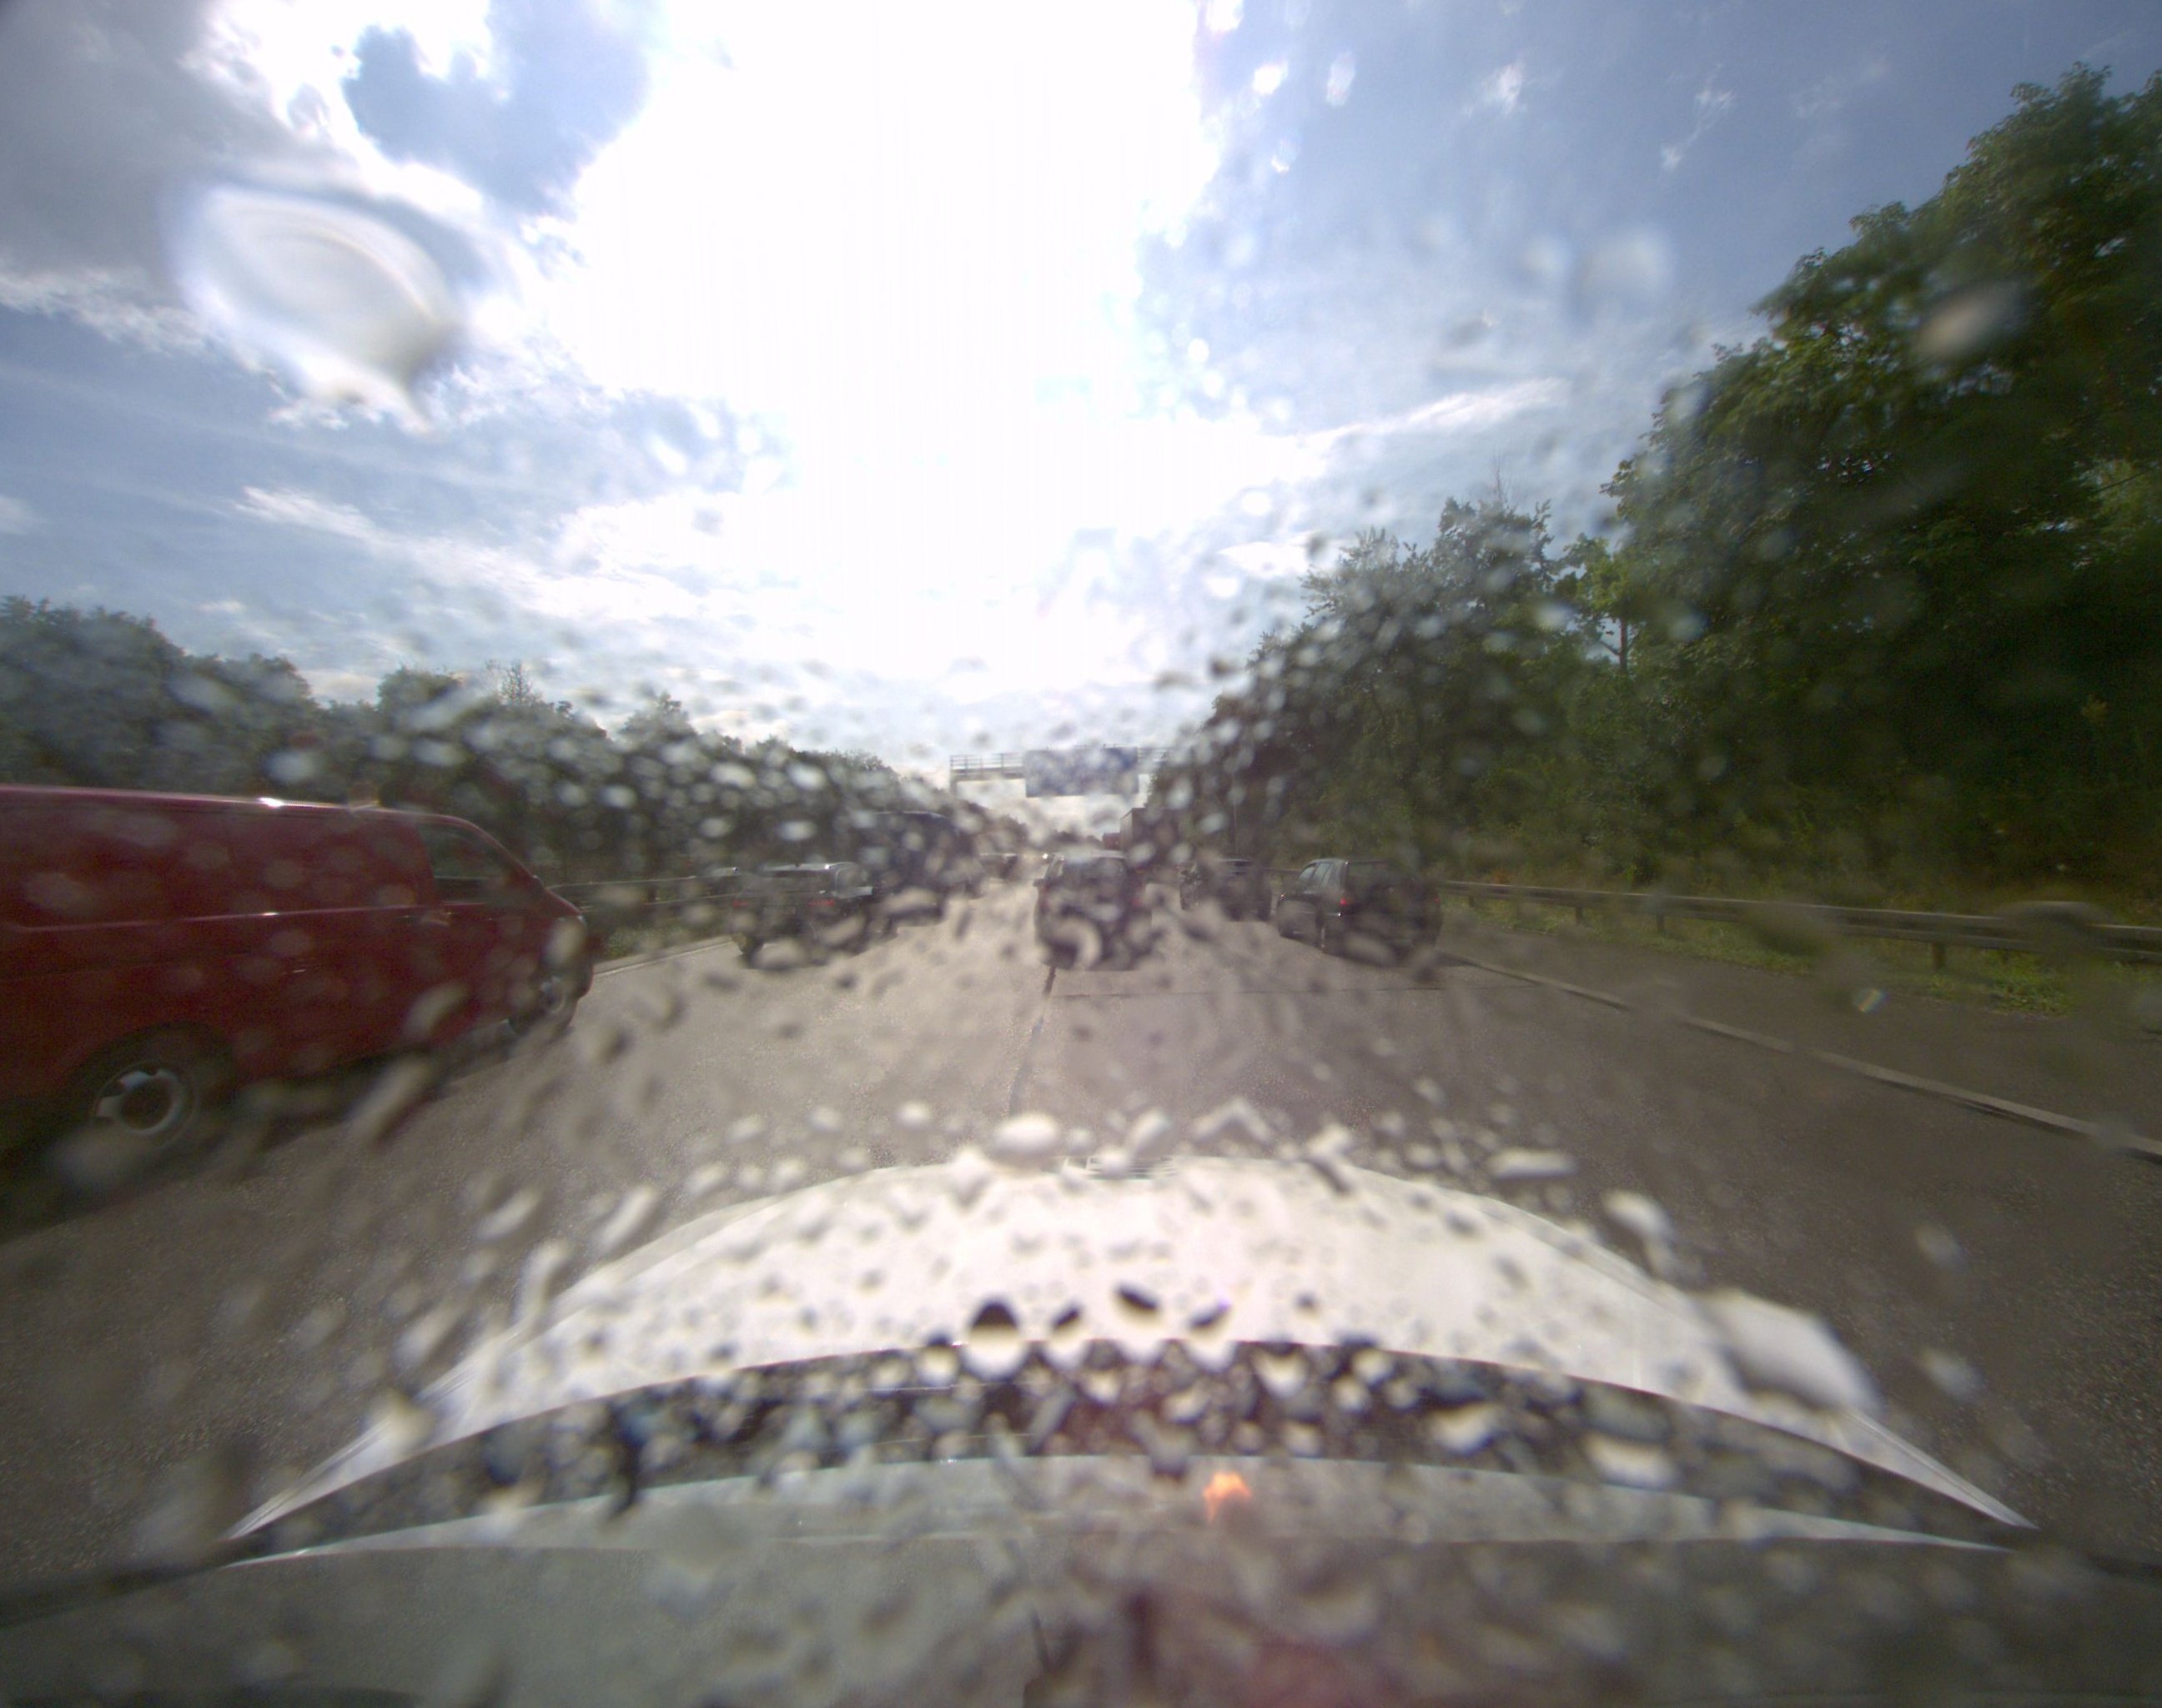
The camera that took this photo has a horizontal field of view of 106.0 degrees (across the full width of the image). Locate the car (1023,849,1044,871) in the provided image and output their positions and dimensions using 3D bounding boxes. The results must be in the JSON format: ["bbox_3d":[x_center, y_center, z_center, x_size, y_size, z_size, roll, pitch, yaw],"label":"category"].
[{"bbox_3d":[-5.281,0.640,90.422,1.987,2.385,5.259,-1,0,0],"label":"car"}]

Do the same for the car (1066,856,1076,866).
[{"bbox_3d":[-2.245,1.554,180.644,1.987,2.115,4.888,-1,0,0],"label":"car"}]

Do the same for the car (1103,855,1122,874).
[{"bbox_3d":[3.541,1.186,92.836,1.987,2.115,4.888,-1,0,0],"label":"car"}]

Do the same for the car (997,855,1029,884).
[{"bbox_3d":[-5.188,1.135,62.434,1.987,2.115,4.888,-1,0,0],"label":"car"}]

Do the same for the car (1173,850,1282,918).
[{"bbox_3d":[3.536,0.696,20.360,1.860,1.516,3.972,0,0,-2],"label":"car"}]

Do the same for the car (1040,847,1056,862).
[{"bbox_3d":[-4.463,0.084,111.407,1.987,2.115,4.888,-1,0,0],"label":"car"}]

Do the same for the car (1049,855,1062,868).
[{"bbox_3d":[-4.225,1.285,136.055,1.987,2.115,4.888,-1,0,0],"label":"car"}]

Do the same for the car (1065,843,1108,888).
[{"bbox_3d":[0.205,0.487,35.357,1.688,1.805,3.972,0,0,-2],"label":"car"}]

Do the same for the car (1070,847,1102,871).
[{"bbox_3d":[0.266,0.332,52.524,1.860,1.516,3.972,0,0,-2],"label":"car"}]

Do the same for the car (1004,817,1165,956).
[{"bbox_3d":[-0.010,0.471,13.988,2.268,1.954,4.818,-1,0,-2],"label":"car"}]

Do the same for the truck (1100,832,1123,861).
[{"bbox_3d":[3.933,-0.962,106.658,2.766,3.631,5.916,-1,-1,0],"label":"truck"}]

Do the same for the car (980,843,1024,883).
[{"bbox_3d":[-4.445,0.499,46.548,1.987,2.115,4.888,-1,0,0],"label":"car"}]

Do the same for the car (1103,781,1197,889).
[{"bbox_3d":[3.977,-0.957,52.657,4.391,5.830,16.810,-1,0,-1],"label":"car"}]

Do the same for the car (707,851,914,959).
[{"bbox_3d":[-4.434,0.761,14.267,1.987,1.564,4.756,-1,0,0],"label":"car"}]

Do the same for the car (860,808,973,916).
[{"bbox_3d":[-4.375,0.219,22.547,1.987,2.615,5.259,-1,-1,0],"label":"car"}]

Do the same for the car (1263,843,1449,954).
[{"bbox_3d":[4.254,0.633,13.270,1.586,1.516,3.973,0,0,-2],"label":"car"}]

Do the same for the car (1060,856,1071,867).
[{"bbox_3d":[-2.958,1.550,159.848,1.987,2.115,4.888,-1,0,0],"label":"car"}]

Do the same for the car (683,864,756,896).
[{"bbox_3d":[-21.271,1.478,48.189,2.045,1.775,5.207,-1,0,-1],"label":"car"}]

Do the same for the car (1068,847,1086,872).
[{"bbox_3d":[-0.409,0.621,94.140,1.987,2.746,5.259,-1,-1,0],"label":"car"}]

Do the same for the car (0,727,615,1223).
[{"bbox_3d":[-5.454,0.524,5.391,1.972,2.054,4.756,-1,0,0],"label":"car"}]
